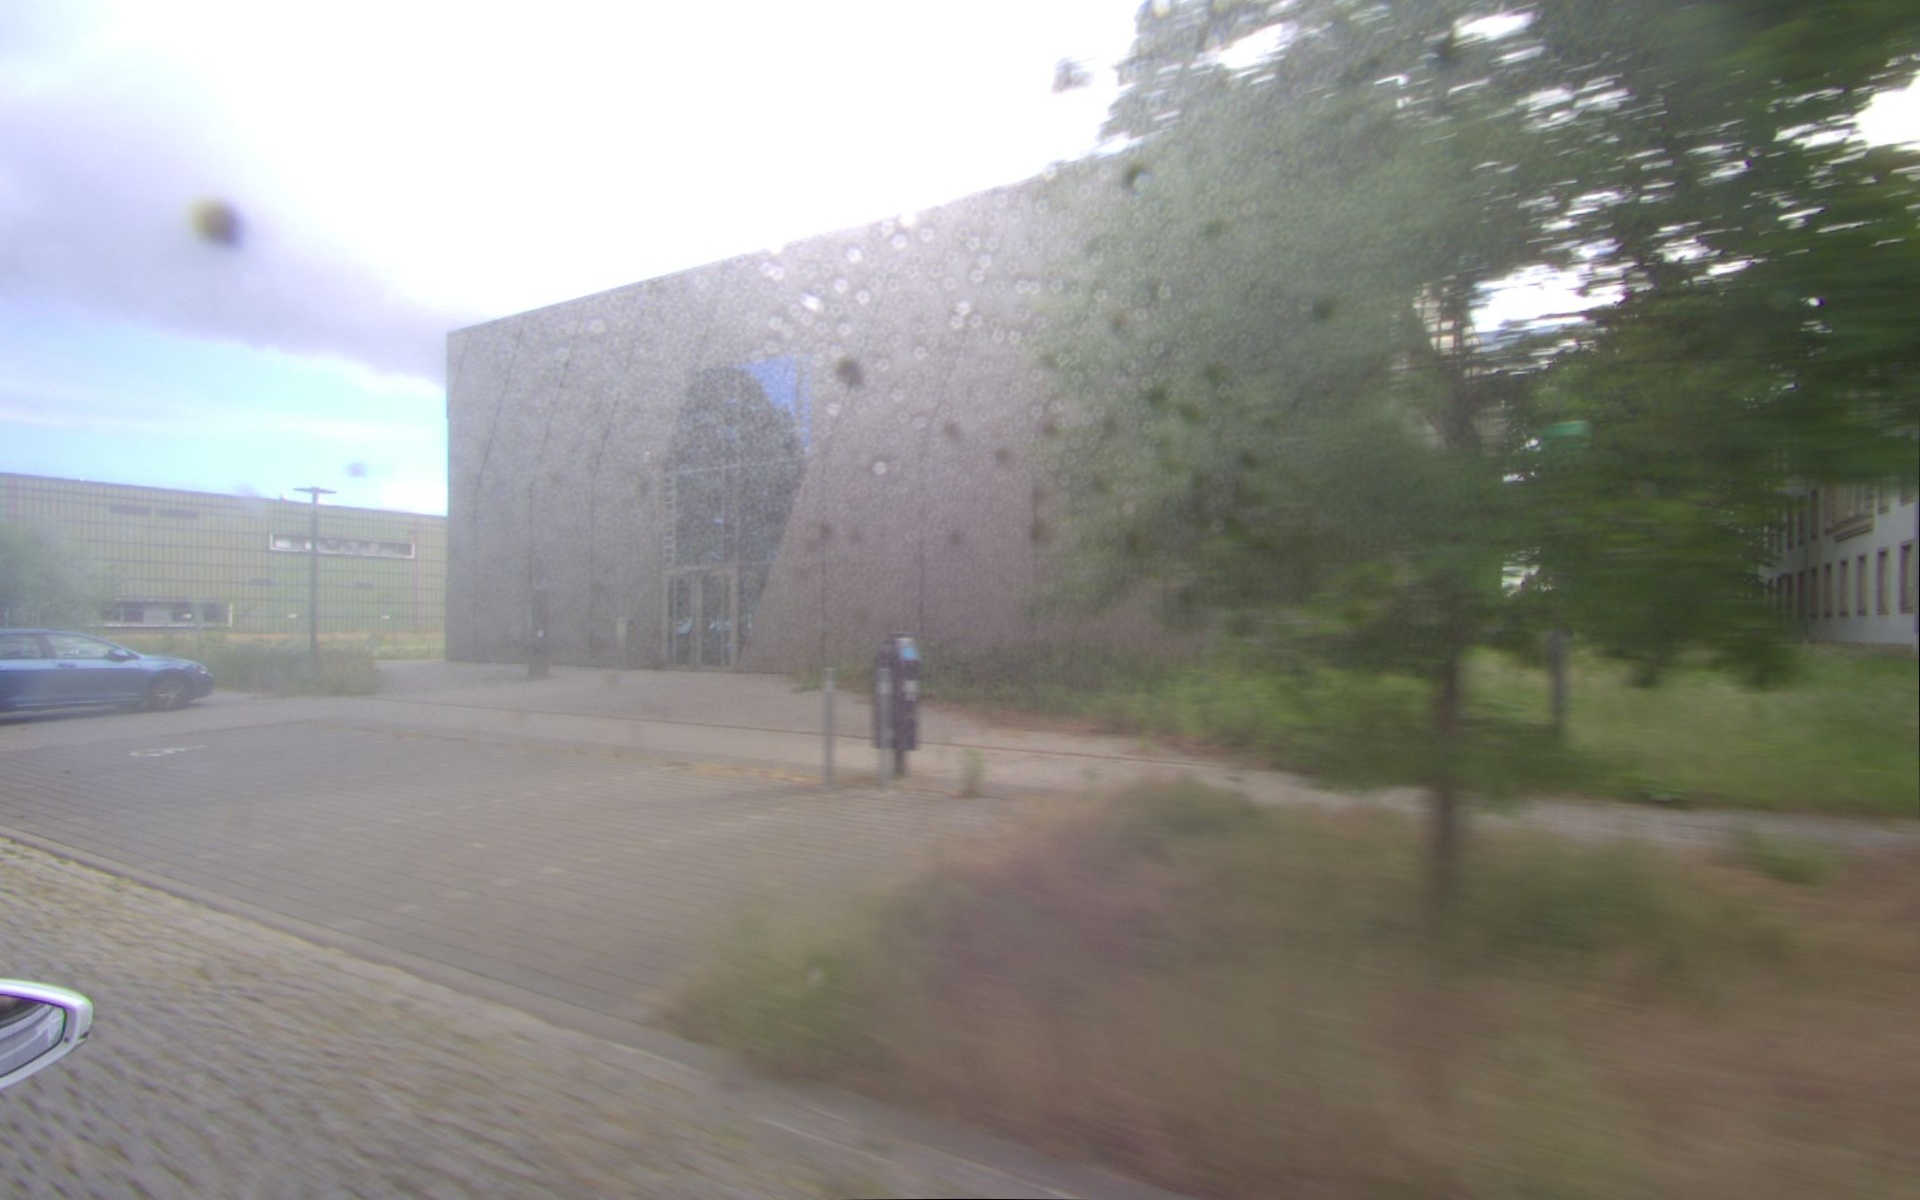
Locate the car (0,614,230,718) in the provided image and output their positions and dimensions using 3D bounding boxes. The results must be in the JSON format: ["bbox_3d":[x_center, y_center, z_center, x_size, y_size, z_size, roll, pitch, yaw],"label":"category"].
[{"bbox_3d":[-15.055,1.028,16.497,1.970,1.552,4.512,0,0,30],"label":"car"}]

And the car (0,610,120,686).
[{"bbox_3d":[-20.798,1.004,21.012,1.971,1.552,4.508,0,0,32],"label":"car"}]
